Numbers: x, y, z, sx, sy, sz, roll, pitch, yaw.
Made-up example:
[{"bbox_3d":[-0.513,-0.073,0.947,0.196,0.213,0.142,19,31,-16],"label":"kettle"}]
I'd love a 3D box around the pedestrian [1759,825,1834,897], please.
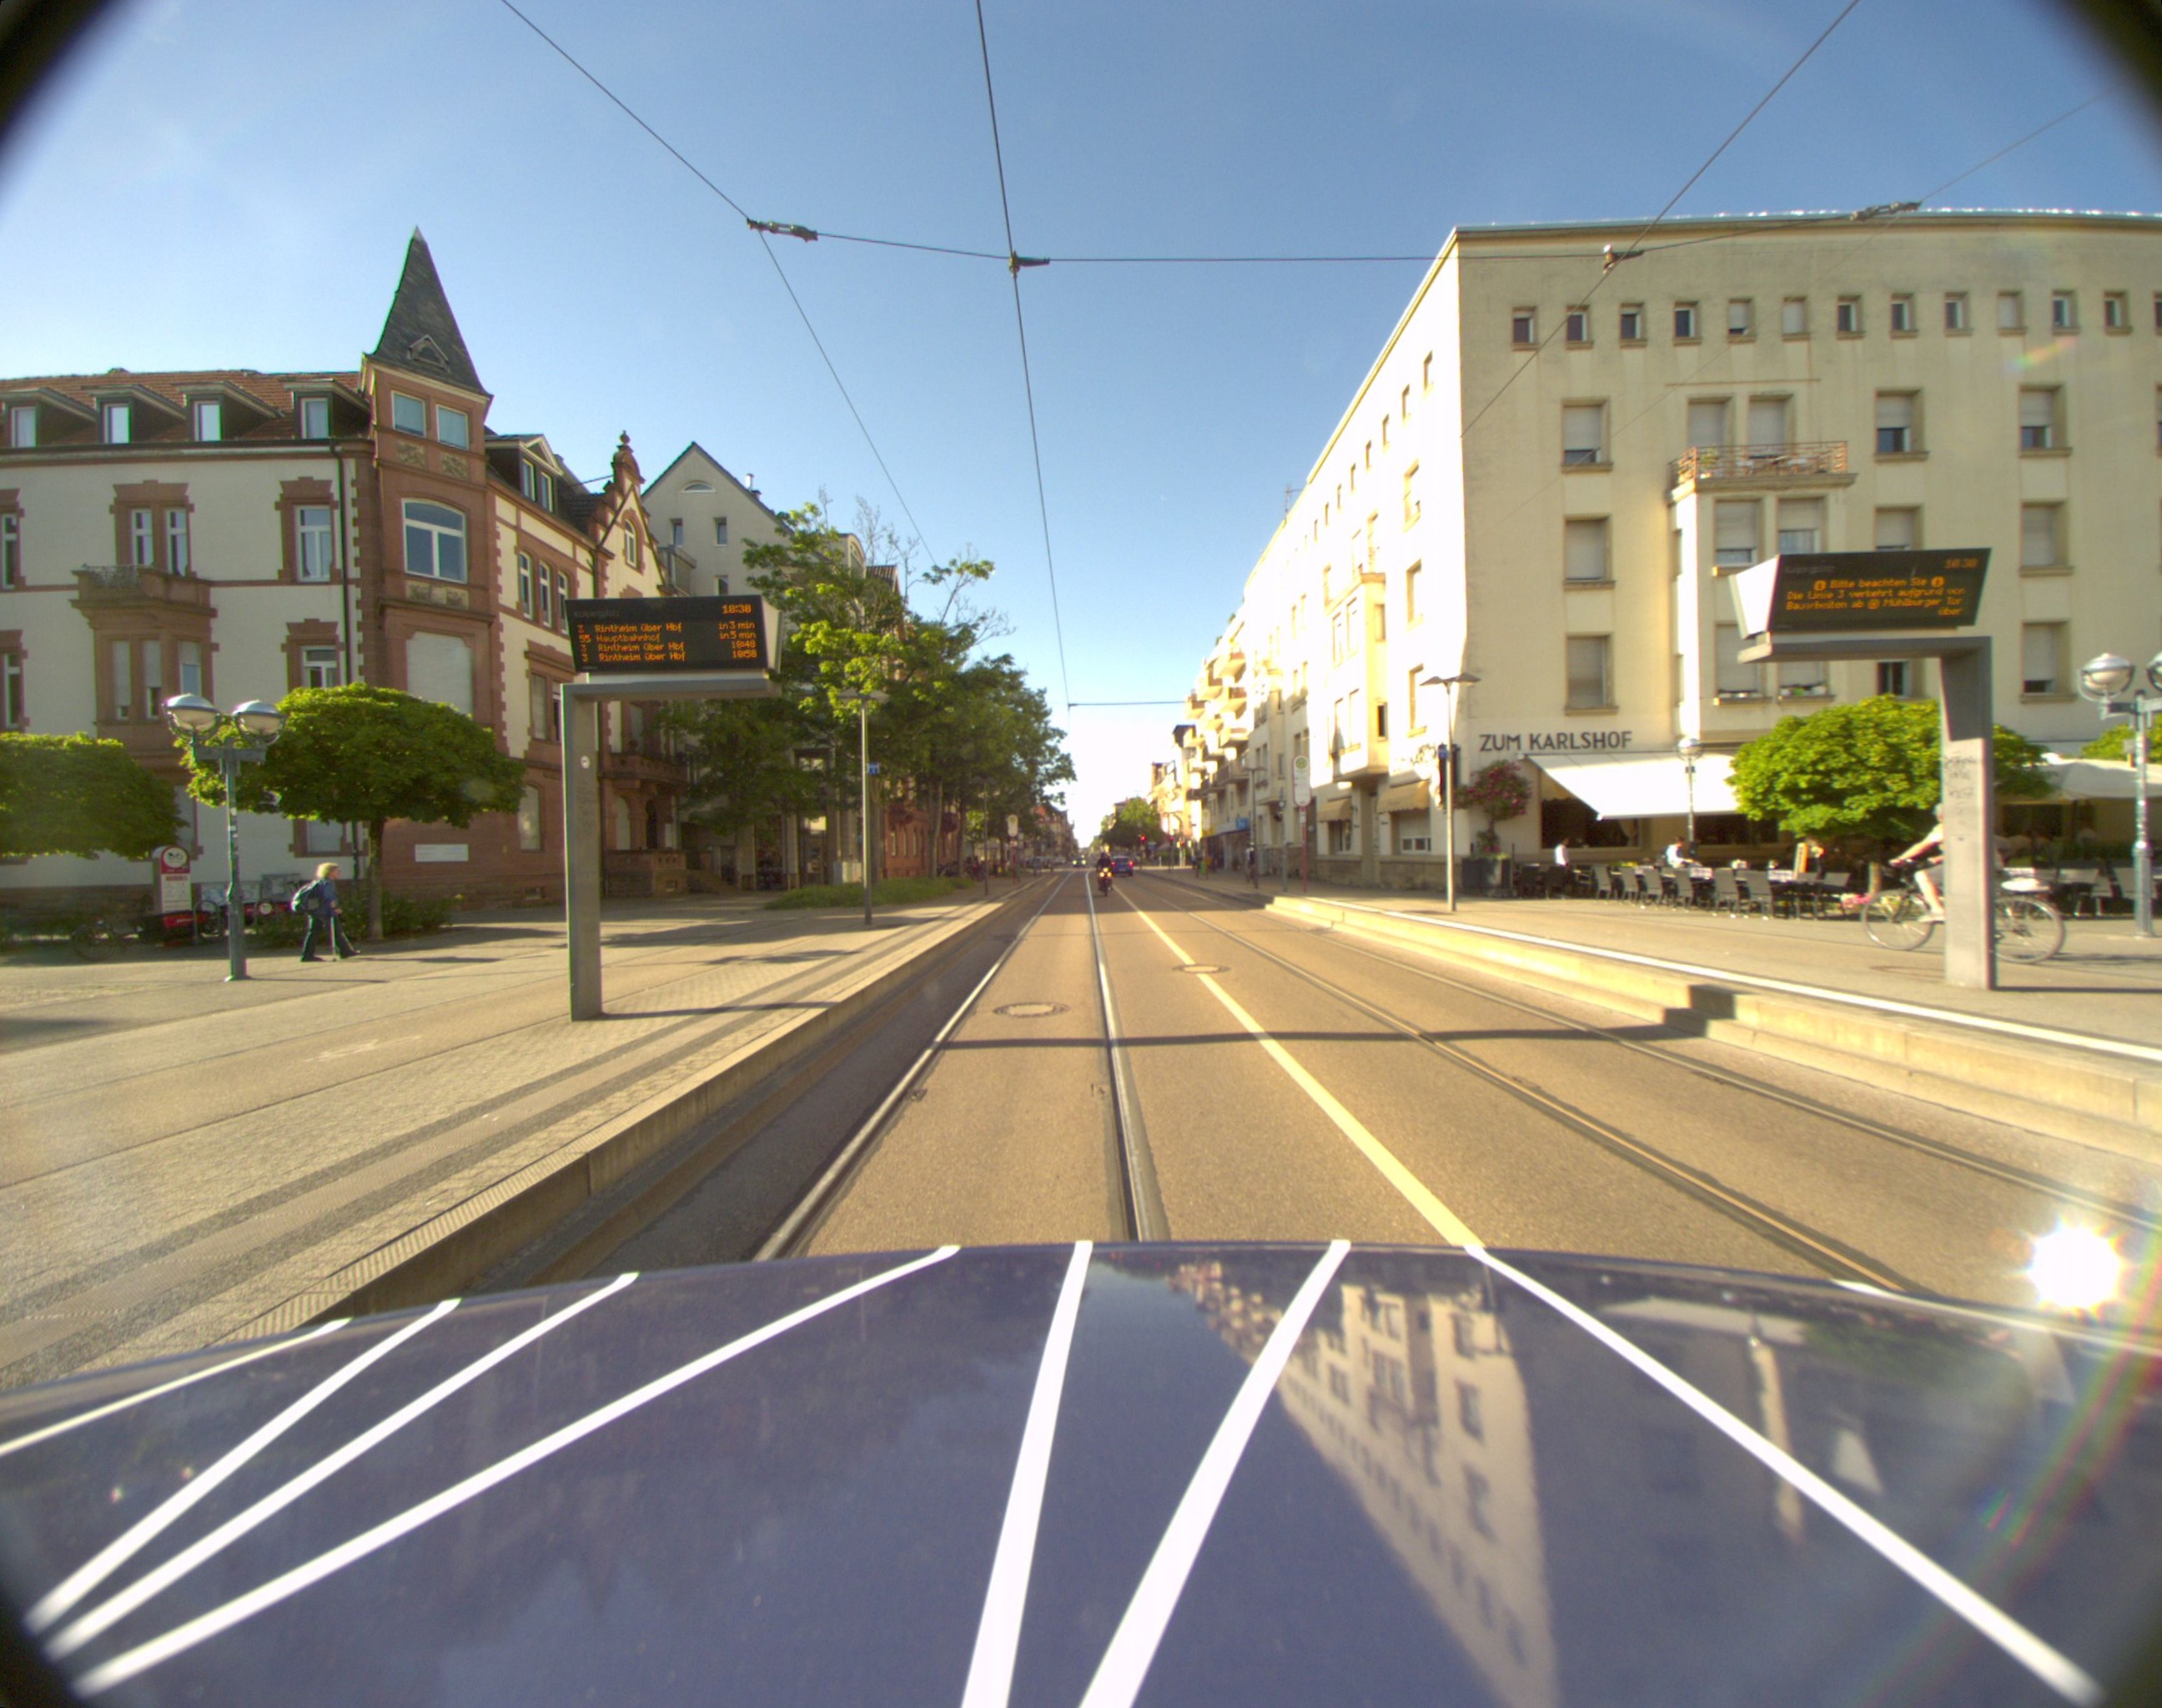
[{"bbox_3d":[16.858,0.166,17.920,1.066,1.635,0.756,-1,1,-4],"label":"pedestrian"}]

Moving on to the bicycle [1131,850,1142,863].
[{"bbox_3d":[7.390,0.282,101.244,1.227,1.719,3.108,-1,0,7],"label":"bicycle"}]

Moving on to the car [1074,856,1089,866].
[{"bbox_3d":[0.116,0.944,107.733,1.998,1.318,3.863,-1,0,1],"label":"car"}]

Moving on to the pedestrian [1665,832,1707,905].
[{"bbox_3d":[14.034,0.350,17.632,0.672,1.634,0.678,-2,-3,44],"label":"pedestrian"}]

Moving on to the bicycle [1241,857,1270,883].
[{"bbox_3d":[7.993,0.710,34.909,0.714,1.119,2.035,-1,0,-5],"label":"bicycle"}]

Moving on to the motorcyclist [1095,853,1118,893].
[{"bbox_3d":[0.956,0.705,28.586,0.821,1.466,1.114,-1,1,1],"label":"motorcyclist"}]

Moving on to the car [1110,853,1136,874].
[{"bbox_3d":[3.091,0.687,56.381,1.671,1.479,3.999,-2,0,0],"label":"car"}]

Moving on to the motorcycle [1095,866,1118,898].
[{"bbox_3d":[0.958,1.038,28.615,0.799,1.090,2.429,-1,0,1],"label":"motorcycle"}]

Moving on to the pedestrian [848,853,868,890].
[{"bbox_3d":[-10.609,0.811,36.174,0.742,1.725,0.877,-2,1,-6],"label":"pedestrian"}]

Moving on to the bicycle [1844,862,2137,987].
[{"bbox_3d":[9.495,0.667,8.087,0.730,1.107,1.976,-2,1,-1],"label":"bicycle"}]

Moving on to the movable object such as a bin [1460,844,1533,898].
[{"bbox_3d":[11.165,0.448,20.460,1.319,1.392,1.128,-1,1,-1],"label":"movable object such as a bin"}]

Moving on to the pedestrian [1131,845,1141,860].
[{"bbox_3d":[7.393,-0.178,101.243,1.175,2.002,1.023,-1,1,10],"label":"pedestrian"}]

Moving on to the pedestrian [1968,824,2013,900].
[{"bbox_3d":[22.101,0.192,18.465,0.578,1.813,0.647,-2,1,-36],"label":"pedestrian"}]

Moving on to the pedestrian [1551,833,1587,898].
[{"bbox_3d":[12.624,0.314,19.676,0.672,1.634,0.752,-1,-2,27],"label":"pedestrian"}]

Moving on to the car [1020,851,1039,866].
[{"bbox_3d":[-7.156,0.606,105.767,1.998,2.002,4.001,-1,0,4],"label":"car"}]

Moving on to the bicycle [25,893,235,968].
[{"bbox_3d":[-18.186,1.402,14.697,0.790,1.062,2.804,-2,2,-8],"label":"bicycle"}]

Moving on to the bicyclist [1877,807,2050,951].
[{"bbox_3d":[9.473,0.251,8.196,0.829,1.447,0.877,-2,1,0],"label":"bicyclist"}]

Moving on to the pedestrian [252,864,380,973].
[{"bbox_3d":[-12.470,1.017,12.436,1.070,1.659,0.956,-2,1,-12],"label":"pedestrian"}]

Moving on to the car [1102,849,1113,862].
[{"bbox_3d":[4.717,0.261,134.134,1.877,2.105,4.000,-2,1,2],"label":"car"}]

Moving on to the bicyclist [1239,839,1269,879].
[{"bbox_3d":[7.948,0.225,34.924,1.007,1.783,1.094,-2,1,-8],"label":"bicyclist"}]

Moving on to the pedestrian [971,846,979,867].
[{"bbox_3d":[-9.955,0.252,71.365,0.653,2.002,0.559,-1,1,3],"label":"pedestrian"}]
